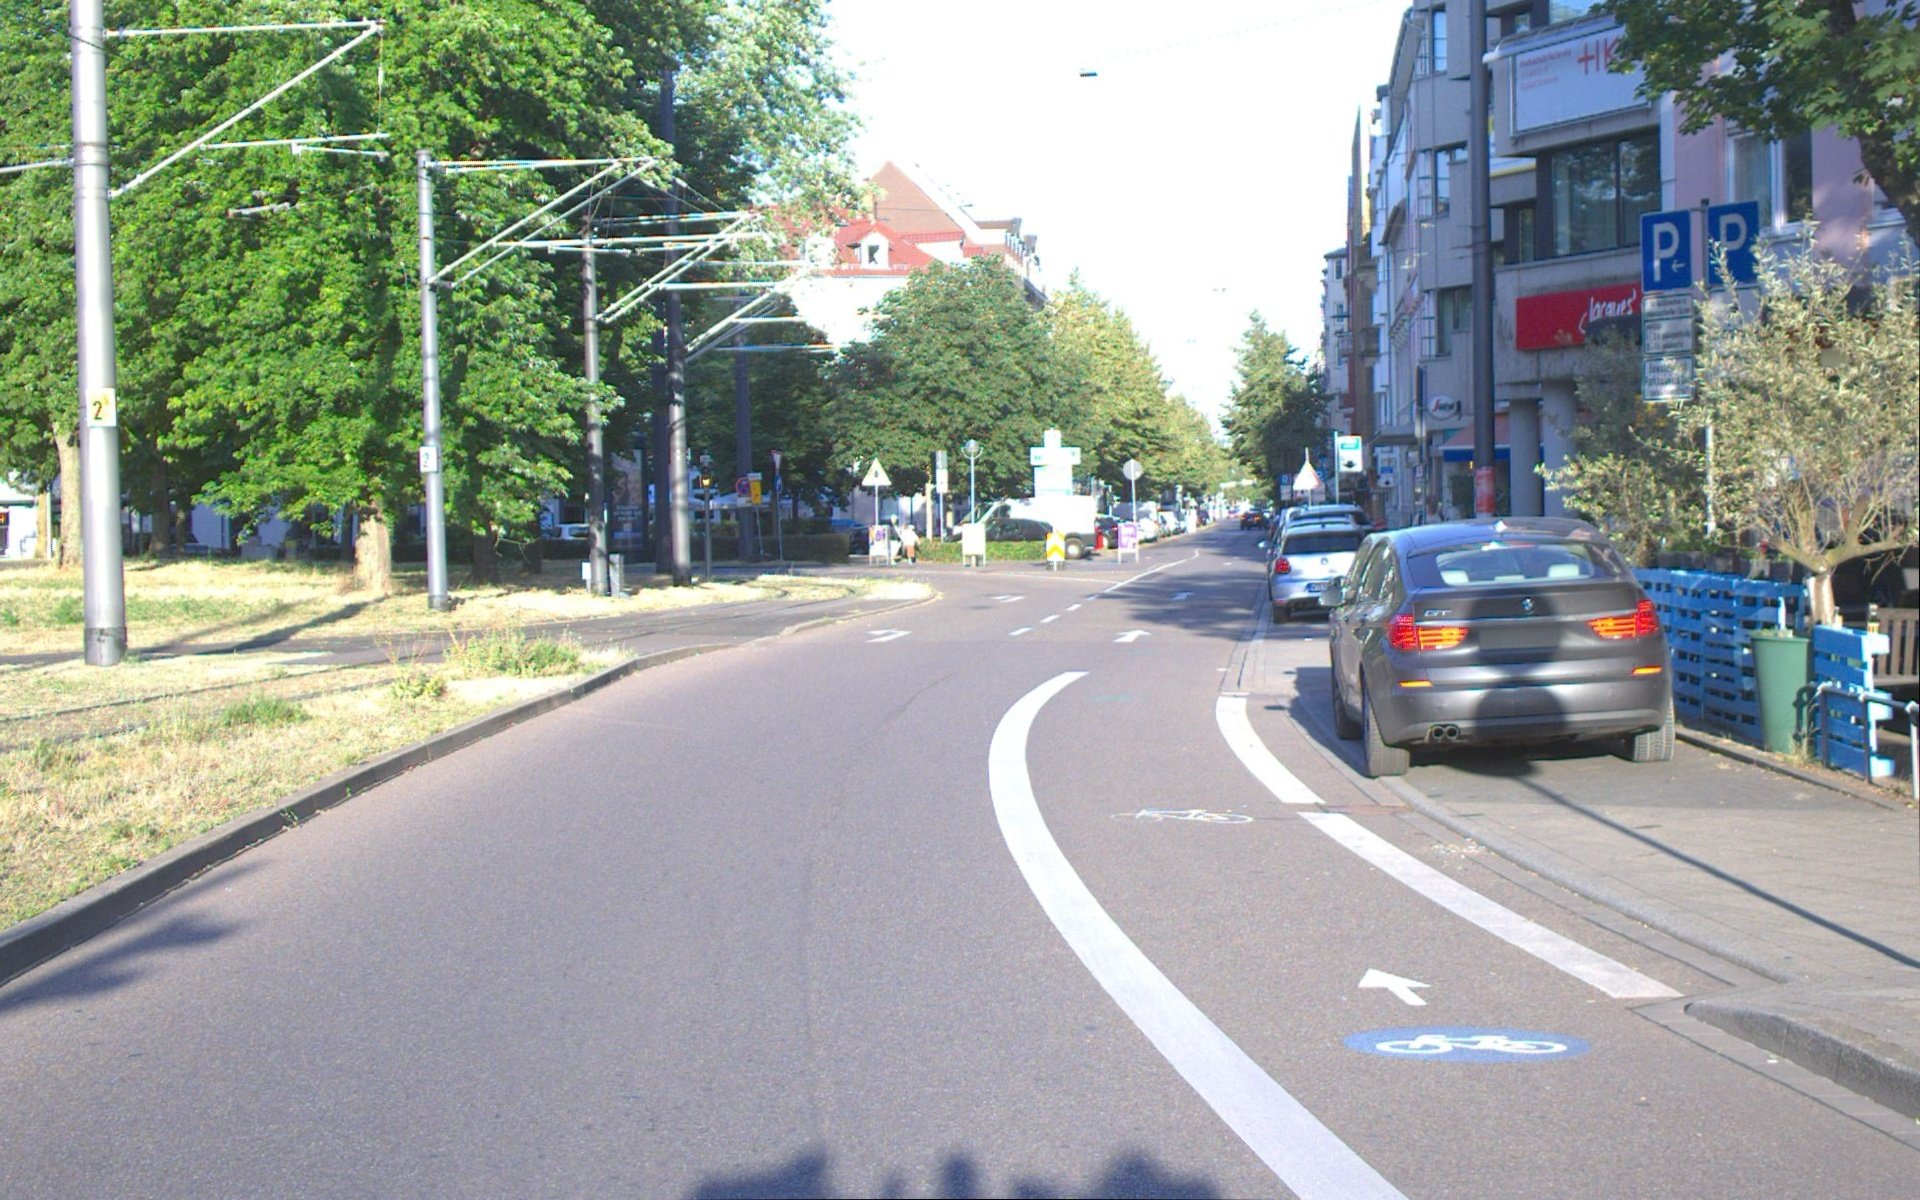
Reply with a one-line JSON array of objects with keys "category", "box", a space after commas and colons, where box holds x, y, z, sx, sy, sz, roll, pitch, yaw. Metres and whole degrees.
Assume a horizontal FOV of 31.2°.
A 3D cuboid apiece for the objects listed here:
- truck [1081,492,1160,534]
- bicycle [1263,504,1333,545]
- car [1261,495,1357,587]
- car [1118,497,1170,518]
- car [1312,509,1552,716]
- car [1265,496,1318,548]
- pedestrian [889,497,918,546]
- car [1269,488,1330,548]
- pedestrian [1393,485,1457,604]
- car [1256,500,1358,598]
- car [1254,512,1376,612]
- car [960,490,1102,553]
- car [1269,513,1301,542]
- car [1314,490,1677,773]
[{"category": "truck", "box": [10.326, -5.559, 220.512, 4.942, 2.606, 2.000, -1, 1, 5]}, {"category": "bicycle", "box": [9.209, -2.062, 93.675, 1.790, 0.986, 0.541, -3, 3, 28]}, {"category": "car", "box": [7.050, -1.236, 69.785, 1.784, 1.798, 4.401, 0, 2, 4]}, {"category": "car", "box": [13.569, -6.773, 252.926, 3.740, 1.487, 2.000, -1, 2, 5]}, {"category": "car", "box": [3.761, 0.038, 27.922, 1.650, 1.529, 4.066, 0, 2, 4]}, {"category": "car", "box": [10.758, -2.555, 111.679, 1.657, 1.659, 4.108, 0, 2, 5]}, {"category": "pedestrian", "box": [-1.819, -2.522, 110.592, 0.698, 1.553, 0.694, 1, 2, 26]}, {"category": "car", "box": [10.462, -2.515, 105.993, 1.793, 1.785, 4.091, -1, 1, 5]}, {"category": "pedestrian", "box": [7.004, -0.844, 51.836, 0.638, 1.779, 0.857, 0, 2, -18]}, {"category": "car", "box": [5.860, -0.889, 58.319, 1.585, 1.585, 3.668, 0, 2, 4]}, {"category": "car", "box": [5.514, -0.611, 53.109, 1.785, 1.451, 3.999, -1, 1, 7]}, {"category": "car", "box": [2.559, -2.837, 124.160, 4.597, 2.243, 2.204, 0, 1, -21]}, {"category": "car", "box": [18.592, -4.154, 196.815, 1.576, 1.537, 3.397, -3, 1, 3]}, {"category": "car", "box": [3.423, 0.109, 22.826, 1.804, 1.664, 4.813, 0, 2, 2]}]
